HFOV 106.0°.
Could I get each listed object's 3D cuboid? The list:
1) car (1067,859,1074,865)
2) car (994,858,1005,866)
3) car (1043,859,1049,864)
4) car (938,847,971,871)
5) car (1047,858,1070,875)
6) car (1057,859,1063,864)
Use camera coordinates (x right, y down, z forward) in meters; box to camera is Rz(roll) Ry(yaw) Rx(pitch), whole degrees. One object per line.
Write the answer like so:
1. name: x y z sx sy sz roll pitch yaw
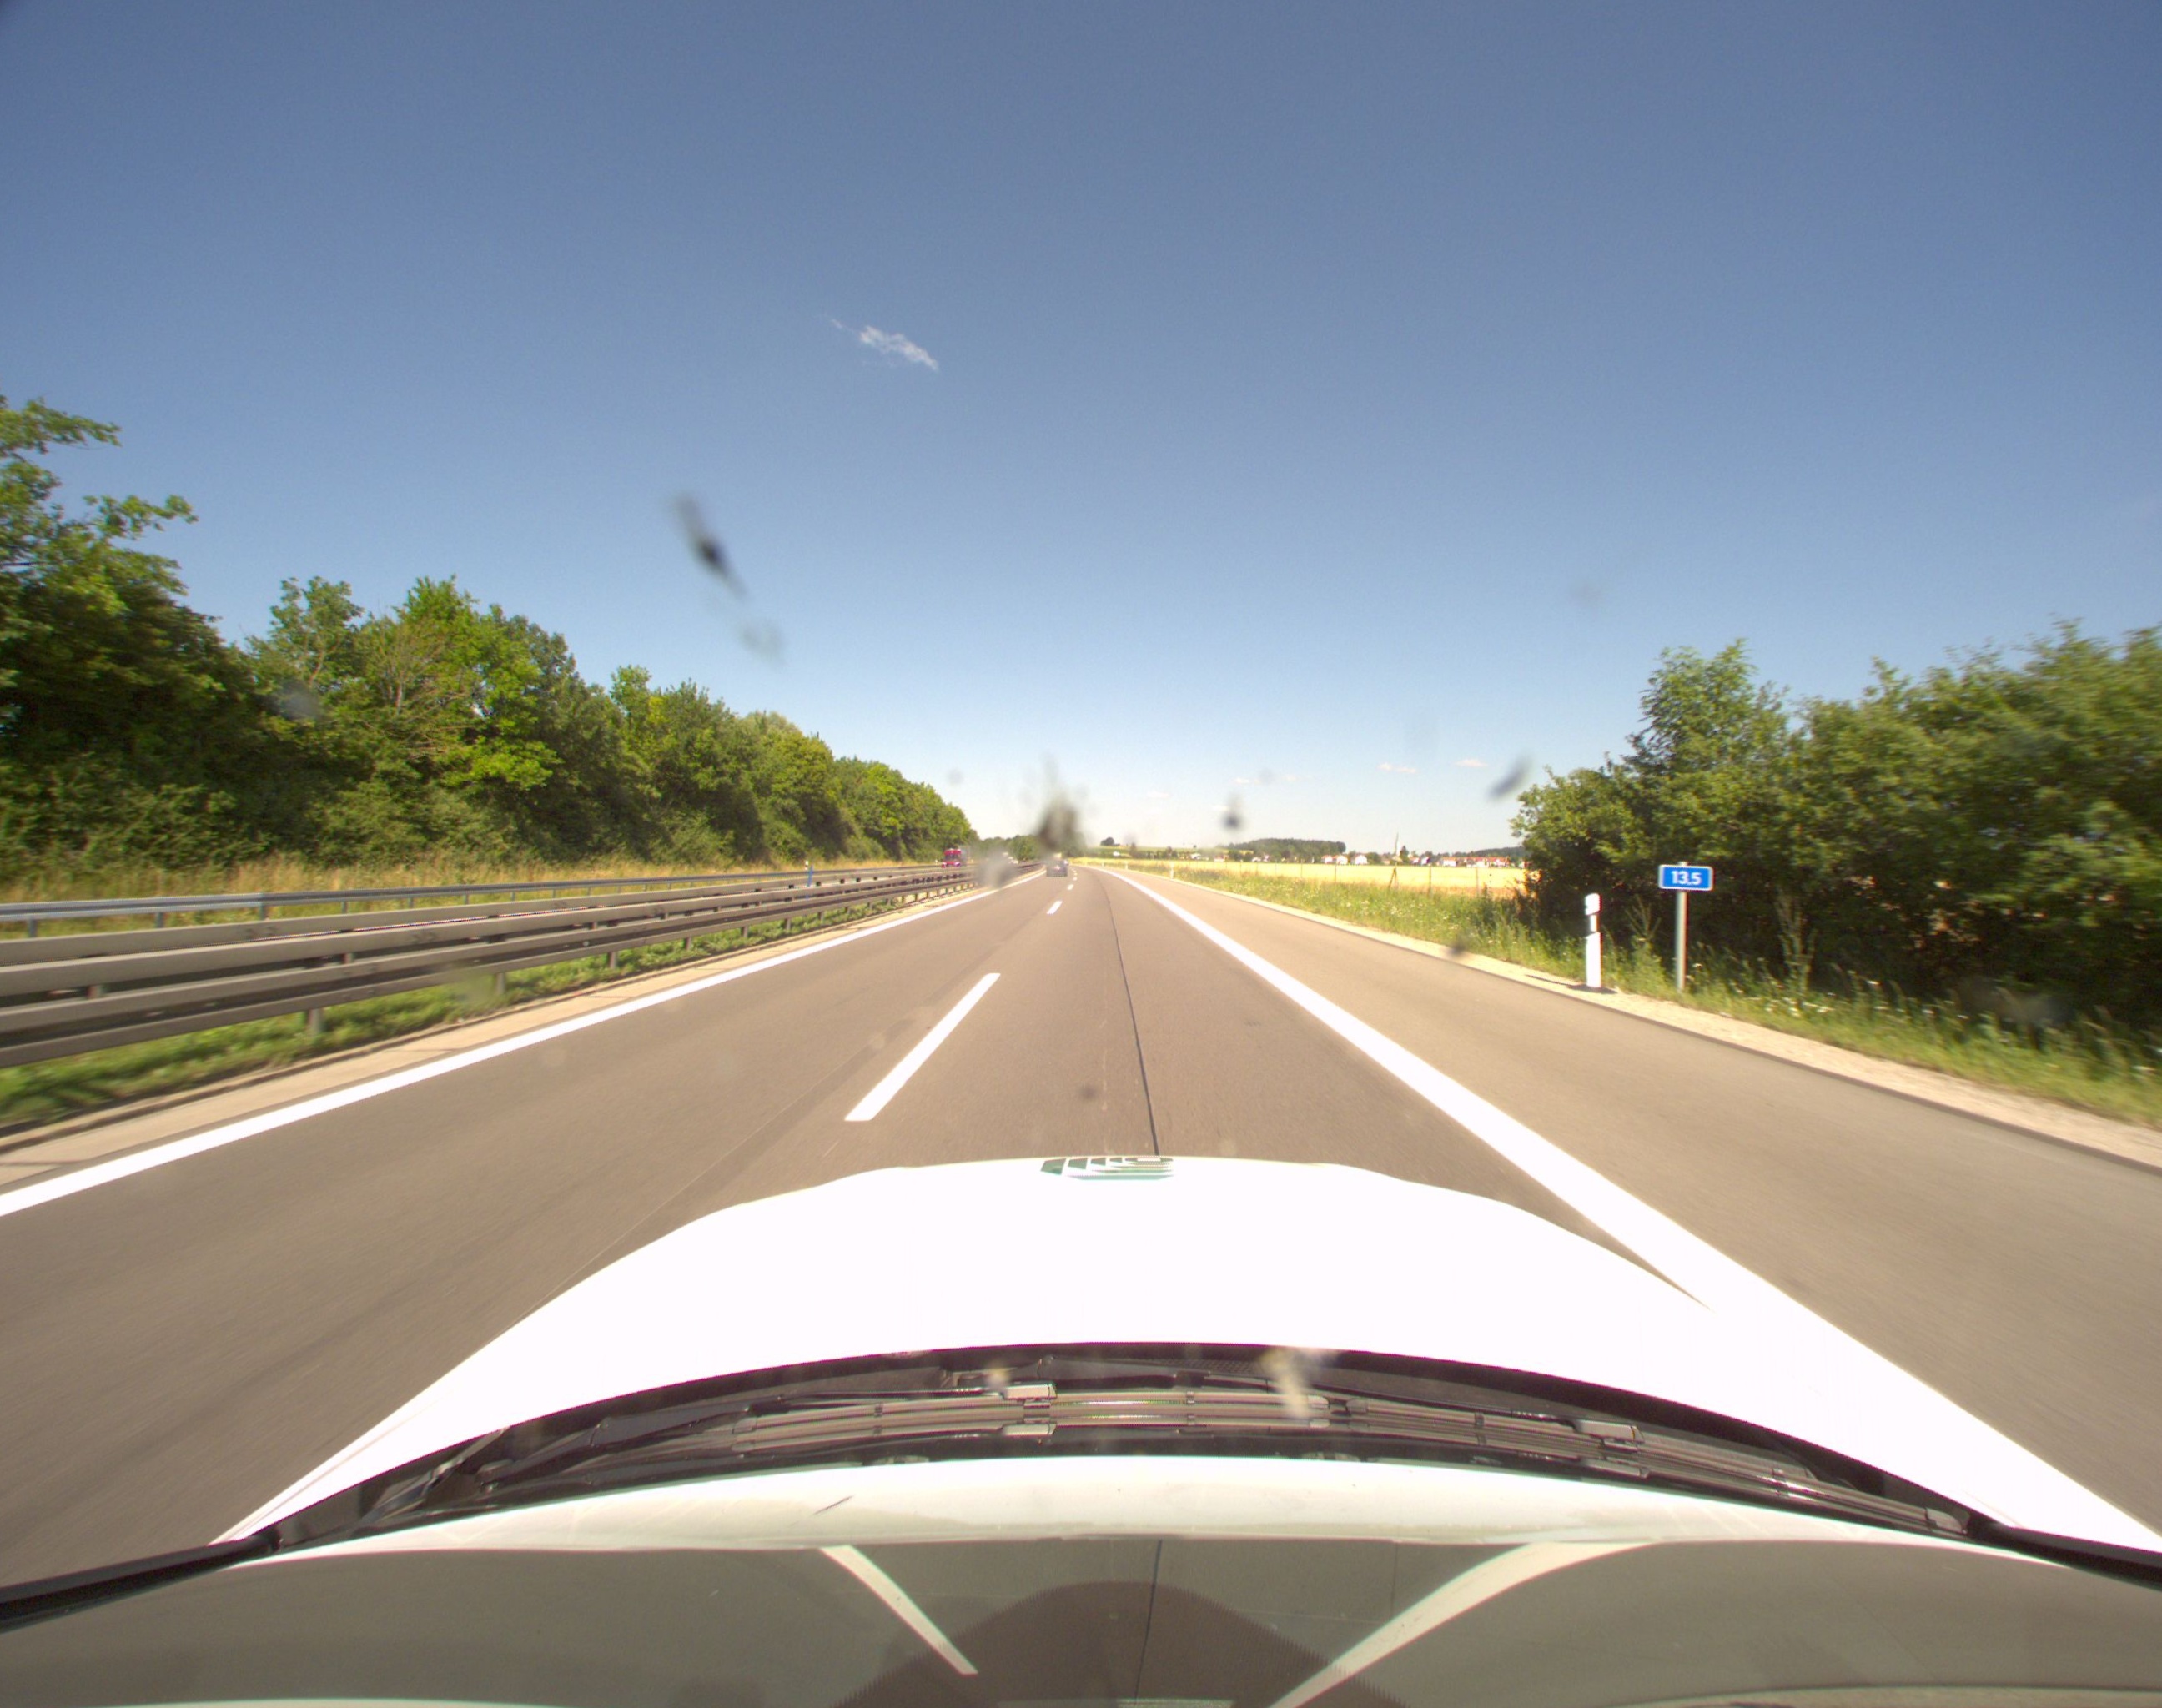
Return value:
1. car: -2.749 1.962 204.855 1.672 1.453 3.588 0 0 -3
2. car: -16.156 1.546 161.684 1.805 1.555 4.847 0 0 -1
3. car: -10.517 2.186 244.109 1.672 1.453 3.589 0 0 -2
4. car: -13.822 0.533 89.751 2.535 2.595 6.593 0 0 0
5. car: -1.990 1.090 72.620 1.841 1.432 5.865 0 0 0
6. car: -6.072 2.118 235.089 1.672 1.453 3.588 0 0 -3
